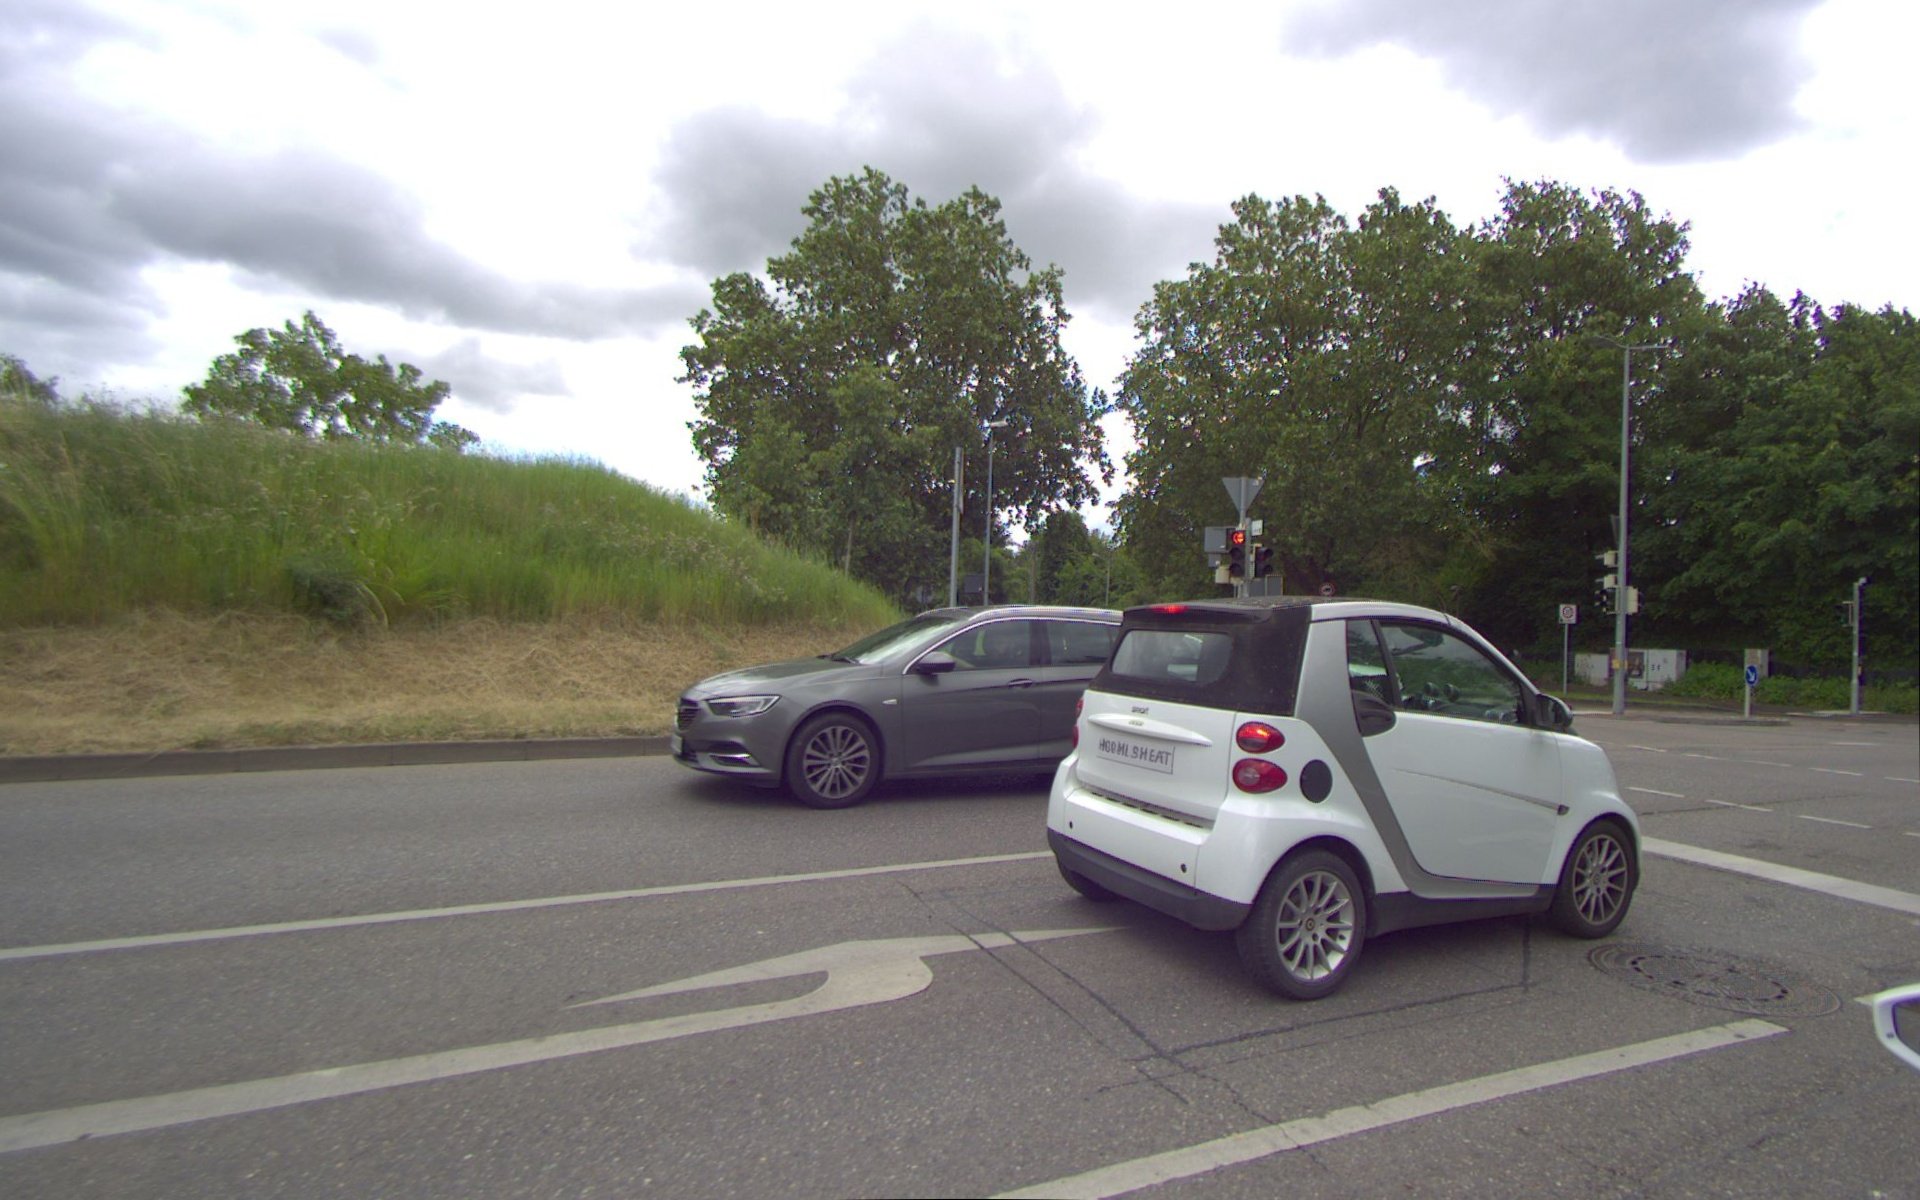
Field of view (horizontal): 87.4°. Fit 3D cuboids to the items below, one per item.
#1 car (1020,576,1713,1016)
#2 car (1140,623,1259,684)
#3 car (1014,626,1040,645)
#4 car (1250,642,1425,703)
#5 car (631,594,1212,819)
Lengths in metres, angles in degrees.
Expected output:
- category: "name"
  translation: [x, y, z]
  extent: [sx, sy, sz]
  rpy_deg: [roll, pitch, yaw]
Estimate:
- category: "car"
  translation: [1.997, 0.729, 4.985]
  extent: [2.977, 1.578, 1.570]
  rpy_deg: [2, 1, -26]
- category: "car"
  translation: [7.789, 1.738, 33.014]
  extent: [1.828, 1.837, 4.019]
  rpy_deg: [2, -3, -21]
- category: "car"
  translation: [5.866, 3.115, 88.514]
  extent: [1.683, 1.561, 3.997]
  rpy_deg: [1, -1, -5]
- category: "car"
  translation: [10.103, 1.917, 27.275]
  extent: [1.971, 1.356, 4.397]
  rpy_deg: [4, -3, -22]
- category: "car"
  translation: [-0.278, 0.747, 8.140]
  extent: [4.361, 1.439, 1.760]
  rpy_deg: [2, -1, -25]
